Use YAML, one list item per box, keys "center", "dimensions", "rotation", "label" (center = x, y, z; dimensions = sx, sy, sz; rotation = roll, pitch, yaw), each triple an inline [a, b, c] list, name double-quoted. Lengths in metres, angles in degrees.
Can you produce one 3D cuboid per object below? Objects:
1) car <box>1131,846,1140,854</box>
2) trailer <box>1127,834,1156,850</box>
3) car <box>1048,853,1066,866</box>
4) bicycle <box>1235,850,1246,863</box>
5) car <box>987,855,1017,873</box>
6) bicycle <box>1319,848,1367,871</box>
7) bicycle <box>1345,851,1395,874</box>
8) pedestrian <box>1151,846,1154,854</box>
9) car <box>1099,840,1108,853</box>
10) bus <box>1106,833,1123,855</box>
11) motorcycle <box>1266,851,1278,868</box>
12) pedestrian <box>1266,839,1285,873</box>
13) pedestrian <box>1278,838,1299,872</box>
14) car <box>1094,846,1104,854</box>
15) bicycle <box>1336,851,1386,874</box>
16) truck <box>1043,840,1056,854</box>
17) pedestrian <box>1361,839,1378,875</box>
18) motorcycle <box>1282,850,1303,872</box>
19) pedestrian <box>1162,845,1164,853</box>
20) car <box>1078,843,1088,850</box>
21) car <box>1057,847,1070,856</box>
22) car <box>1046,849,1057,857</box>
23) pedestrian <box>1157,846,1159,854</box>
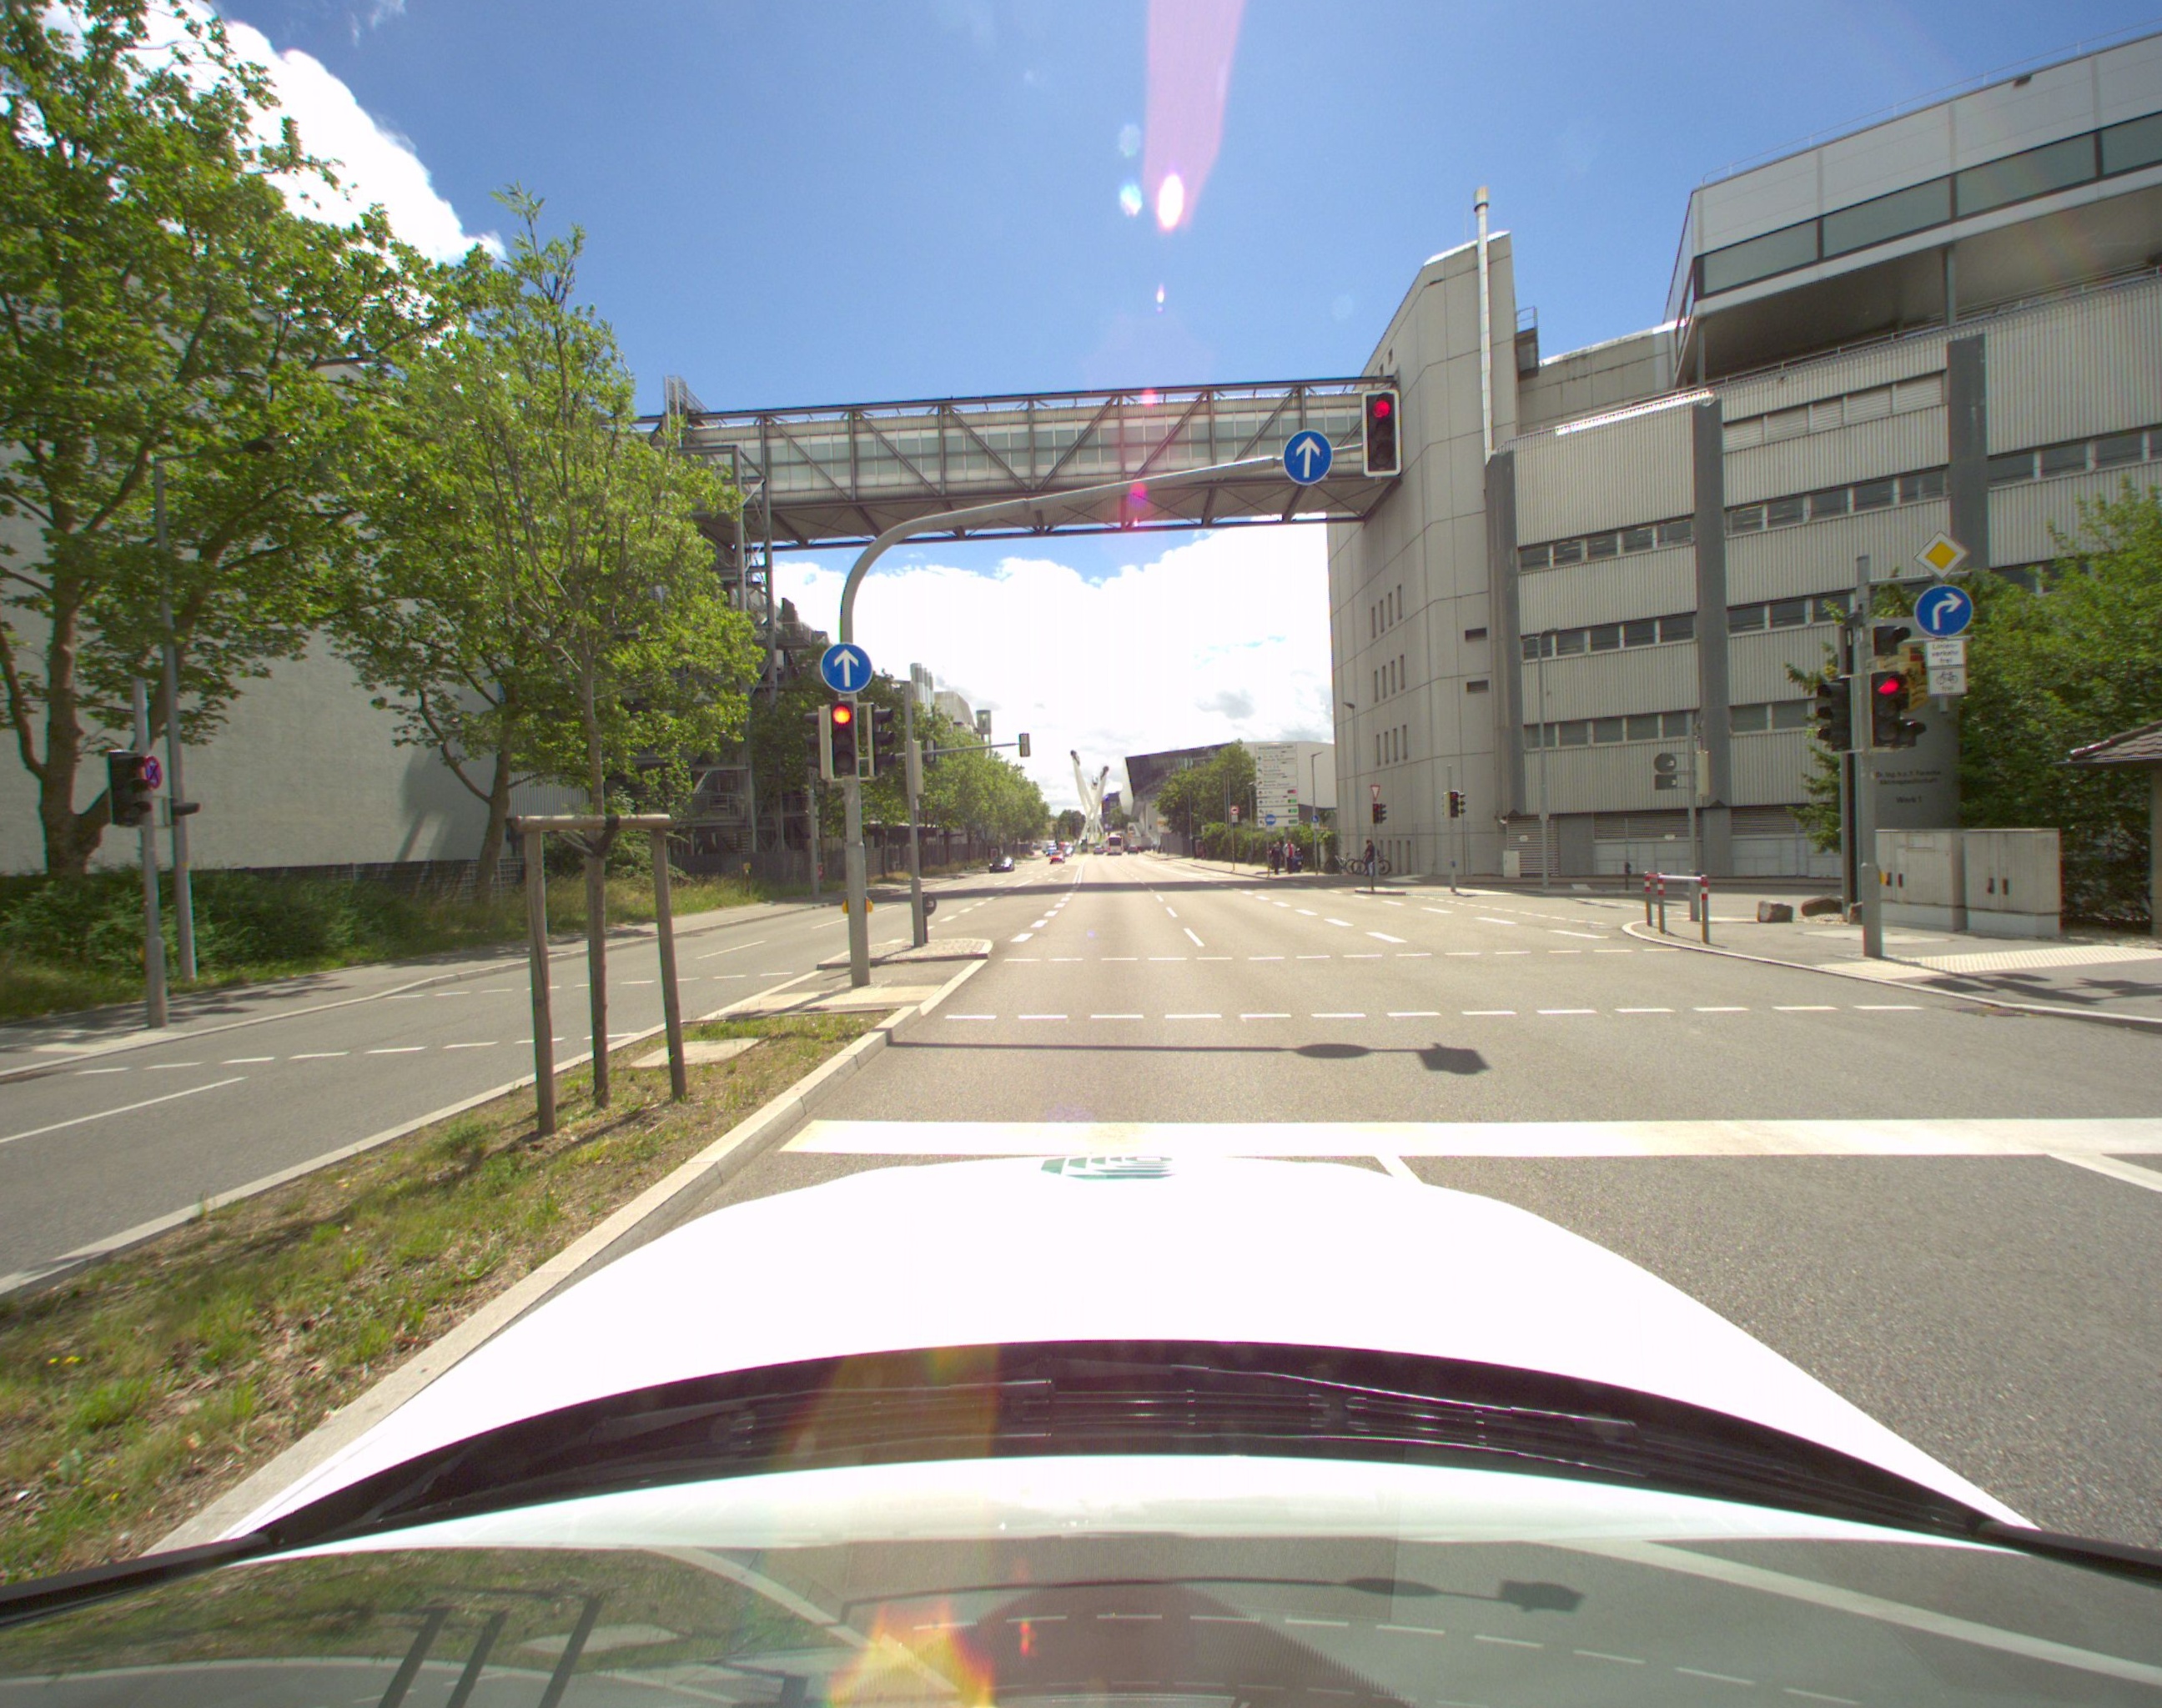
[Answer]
- center: [9.805, -0.744, 146.240]
  dimensions: [1.551, 1.273, 3.704]
  rotation: [-4, 0, 3]
  label: "car"
- center: [12.806, -2.500, 172.119]
  dimensions: [3.291, 2.995, 10.429]
  rotation: [-1, -1, 21]
  label: "trailer"
- center: [-2.859, 0.617, 96.936]
  dimensions: [1.762, 1.420, 3.704]
  rotation: [-4, 0, 3]
  label: "car"
- center: [12.722, 0.178, 65.127]
  dimensions: [0.417, 1.022, 1.911]
  rotation: [0, -1, -2]
  label: "bicycle"
- center: [-7.141, 0.869, 74.117]
  dimensions: [1.910, 1.488, 4.775]
  rotation: [-4, 0, 3]
  label: "car"
- center: [13.082, 0.281, 40.701]
  dimensions: [2.196, 1.086, 0.480]
  rotation: [-1, -1, 37]
  label: "bicycle"
- center: [13.672, 0.397, 38.596]
  dimensions: [2.166, 1.086, 0.480]
  rotation: [-1, -1, 37]
  label: "bicycle"
- center: [12.132, -0.695, 137.902]
  dimensions: [0.384, 1.421, 0.424]
  rotation: [0, -1, 2]
  label: "pedestrian"
- center: [4.742, -1.653, 171.545]
  dimensions: [1.837, 2.624, 3.999]
  rotation: [0, -1, 0]
  label: "car"
- center: [5.909, -1.651, 142.433]
  dimensions: [2.776, 3.686, 6.947]
  rotation: [0, -1, 3]
  label: "bus"
- center: [12.171, 0.340, 51.868]
  dimensions: [0.455, 1.022, 1.914]
  rotation: [0, -1, 4]
  label: "motorcycle"
- center: [10.456, 0.108, 43.796]
  dimensions: [0.642, 1.793, 0.709]
  rotation: [-4, 0, -14]
  label: "pedestrian"
- center: [11.154, 0.068, 43.803]
  dimensions: [0.692, 1.793, 0.709]
  rotation: [-4, 0, -14]
  label: "pedestrian"
- center: [3.331, -0.749, 148.607]
  dimensions: [1.551, 1.273, 3.704]
  rotation: [-4, 0, 3]
  label: "car"
- center: [13.516, 0.405, 39.357]
  dimensions: [2.196, 1.086, 0.480]
  rotation: [-1, -1, 37]
  label: "bicycle"
- center: [-7.384, -1.645, 192.340]
  dimensions: [2.581, 3.324, 7.083]
  rotation: [0, -1, 3]
  label: "truck"
- center: [13.361, 0.153, 37.716]
  dimensions: [0.650, 1.640, 0.538]
  rotation: [-1, -1, 30]
  label: "pedestrian"
- center: [11.648, 0.400, 44.891]
  dimensions: [0.418, 1.166, 1.951]
  rotation: [0, -1, -9]
  label: "motorcycle"
- center: [13.941, -0.848, 138.633]
  dimensions: [0.384, 1.421, 0.424]
  rotation: [0, -1, 2]
  label: "pedestrian"
- center: [0.390, -1.366, 155.898]
  dimensions: [1.551, 1.273, 3.704]
  rotation: [-4, 0, 3]
  label: "car"
- center: [-2.892, -0.419, 136.762]
  dimensions: [1.762, 1.420, 3.704]
  rotation: [-4, 0, 3]
  label: "car"
- center: [-5.634, -0.212, 155.462]
  dimensions: [1.792, 1.574, 4.000]
  rotation: [-1, 0, 0]
  label: "car"
- center: [12.977, -0.685, 137.272]
  dimensions: [0.384, 1.421, 0.424]
  rotation: [0, -1, 2]
  label: "pedestrian"
